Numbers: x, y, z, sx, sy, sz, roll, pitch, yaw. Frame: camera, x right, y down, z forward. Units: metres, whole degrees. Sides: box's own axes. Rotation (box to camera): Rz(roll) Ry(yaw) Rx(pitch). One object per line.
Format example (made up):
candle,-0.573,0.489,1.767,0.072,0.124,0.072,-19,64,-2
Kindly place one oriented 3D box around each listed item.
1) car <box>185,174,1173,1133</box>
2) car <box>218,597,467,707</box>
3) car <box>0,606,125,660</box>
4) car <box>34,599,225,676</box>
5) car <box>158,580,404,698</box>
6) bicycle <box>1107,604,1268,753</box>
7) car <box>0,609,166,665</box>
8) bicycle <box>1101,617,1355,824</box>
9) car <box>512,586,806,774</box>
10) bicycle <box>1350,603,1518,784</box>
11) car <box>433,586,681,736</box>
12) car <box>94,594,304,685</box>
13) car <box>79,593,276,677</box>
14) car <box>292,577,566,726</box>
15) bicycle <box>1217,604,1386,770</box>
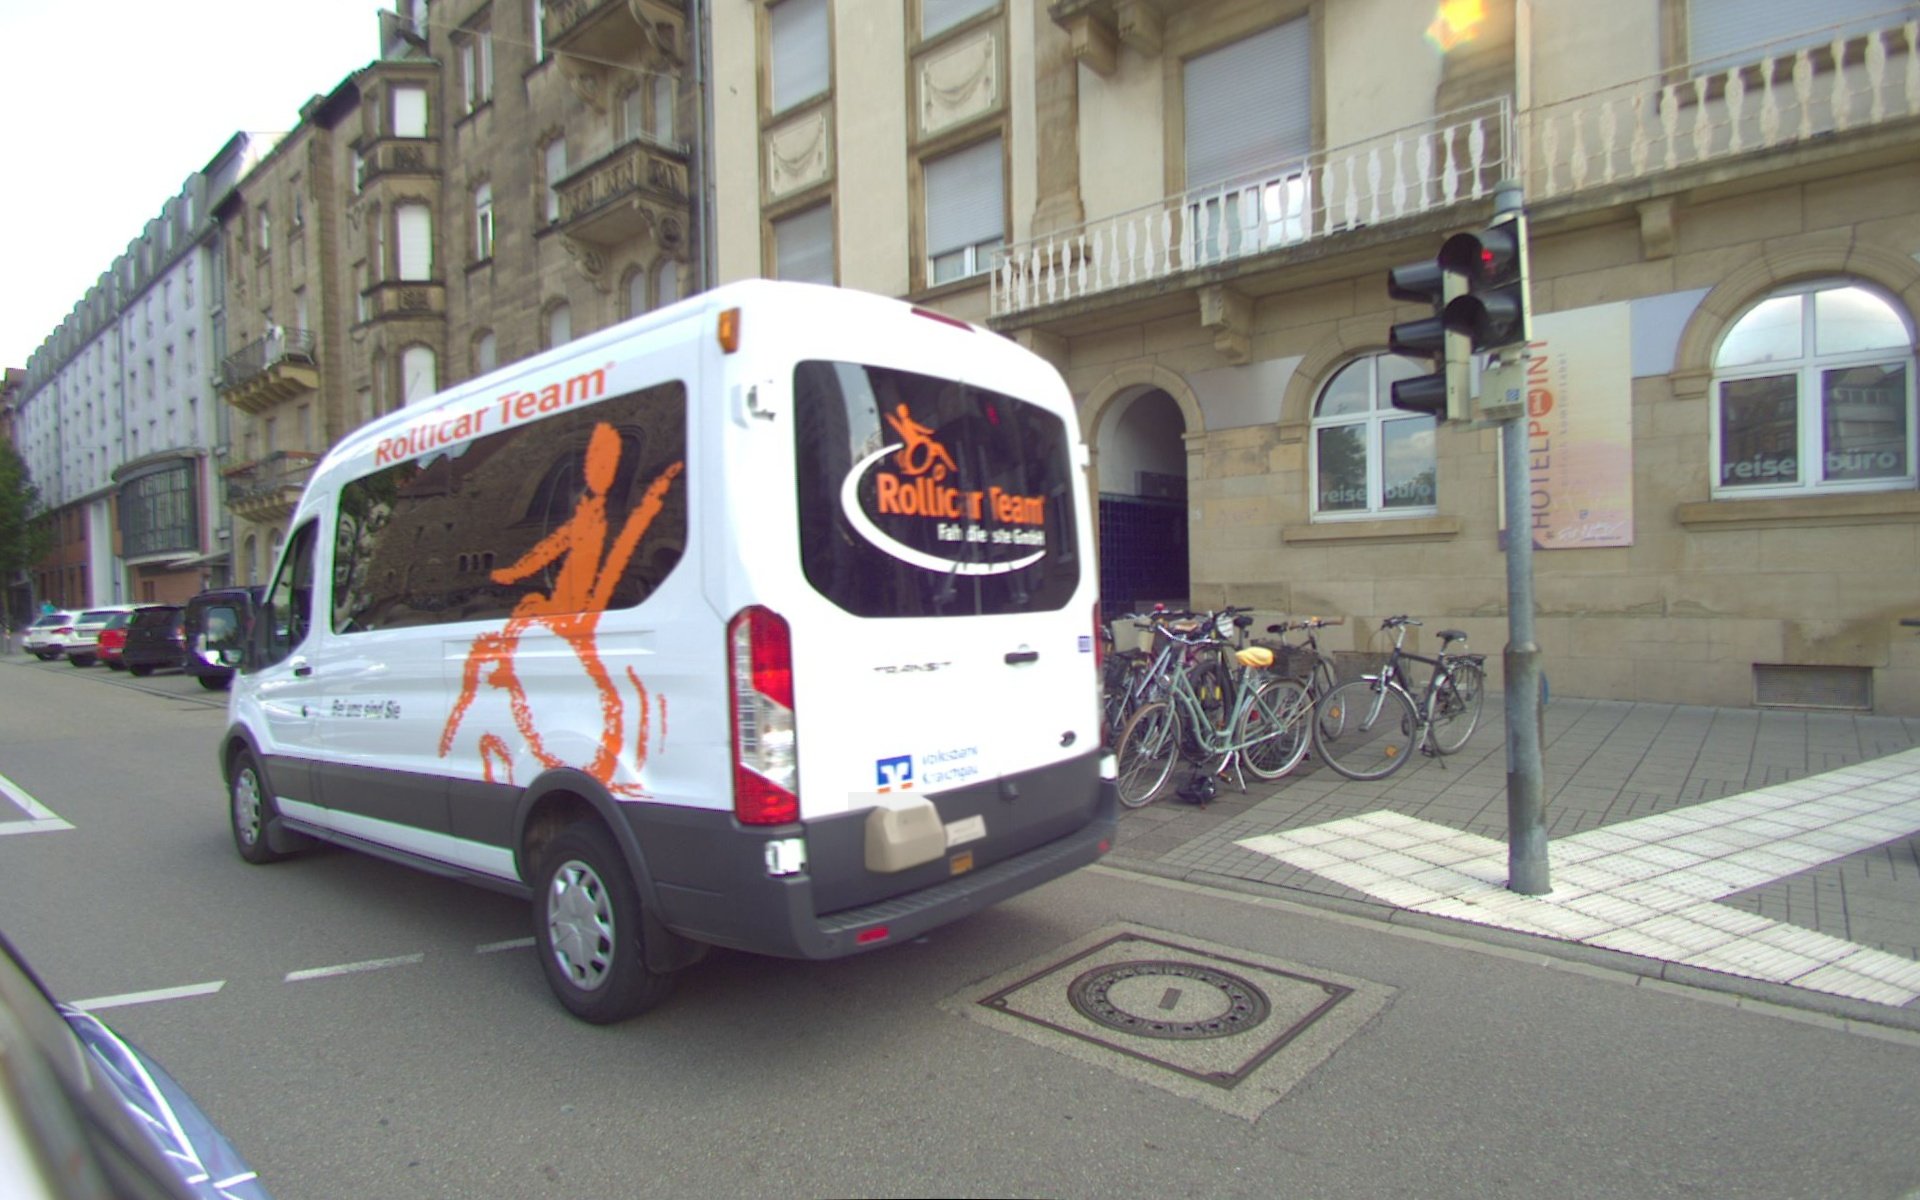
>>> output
car,-2.061,0.229,5.333,5.941,2.463,2.055,-3,-2,41
car,-10.540,0.812,17.669,1.708,1.439,3.952,-4,2,3
car,-31.613,1.121,35.197,1.708,1.597,3.953,-4,2,1
car,-22.085,0.926,27.137,1.708,1.597,3.954,-4,3,1
car,-12.890,0.648,19.554,1.710,1.881,3.947,-2,2,7
bicycle,1.952,0.613,8.562,1.558,1.059,0.481,-5,2,-42
car,-26.516,1.081,30.693,1.707,1.485,3.953,-2,0,1
bicycle,1.747,0.701,6.481,1.707,1.059,0.532,-4,2,-33
car,-3.004,0.697,11.063,1.788,1.467,3.997,-3,2,3
bicycle,3.325,0.596,7.048,1.421,1.059,0.481,-5,2,-40
car,-5.202,0.677,13.675,1.707,1.467,3.956,-4,3,0
car,-17.357,0.830,23.365,1.708,1.597,3.954,-3,4,1
car,-19.391,0.807,25.333,1.708,1.597,3.954,-4,4,1
car,-7.557,0.616,14.907,1.778,1.702,3.954,-4,3,1
bicycle,2.657,0.613,7.783,1.589,1.059,0.481,-5,2,-42
